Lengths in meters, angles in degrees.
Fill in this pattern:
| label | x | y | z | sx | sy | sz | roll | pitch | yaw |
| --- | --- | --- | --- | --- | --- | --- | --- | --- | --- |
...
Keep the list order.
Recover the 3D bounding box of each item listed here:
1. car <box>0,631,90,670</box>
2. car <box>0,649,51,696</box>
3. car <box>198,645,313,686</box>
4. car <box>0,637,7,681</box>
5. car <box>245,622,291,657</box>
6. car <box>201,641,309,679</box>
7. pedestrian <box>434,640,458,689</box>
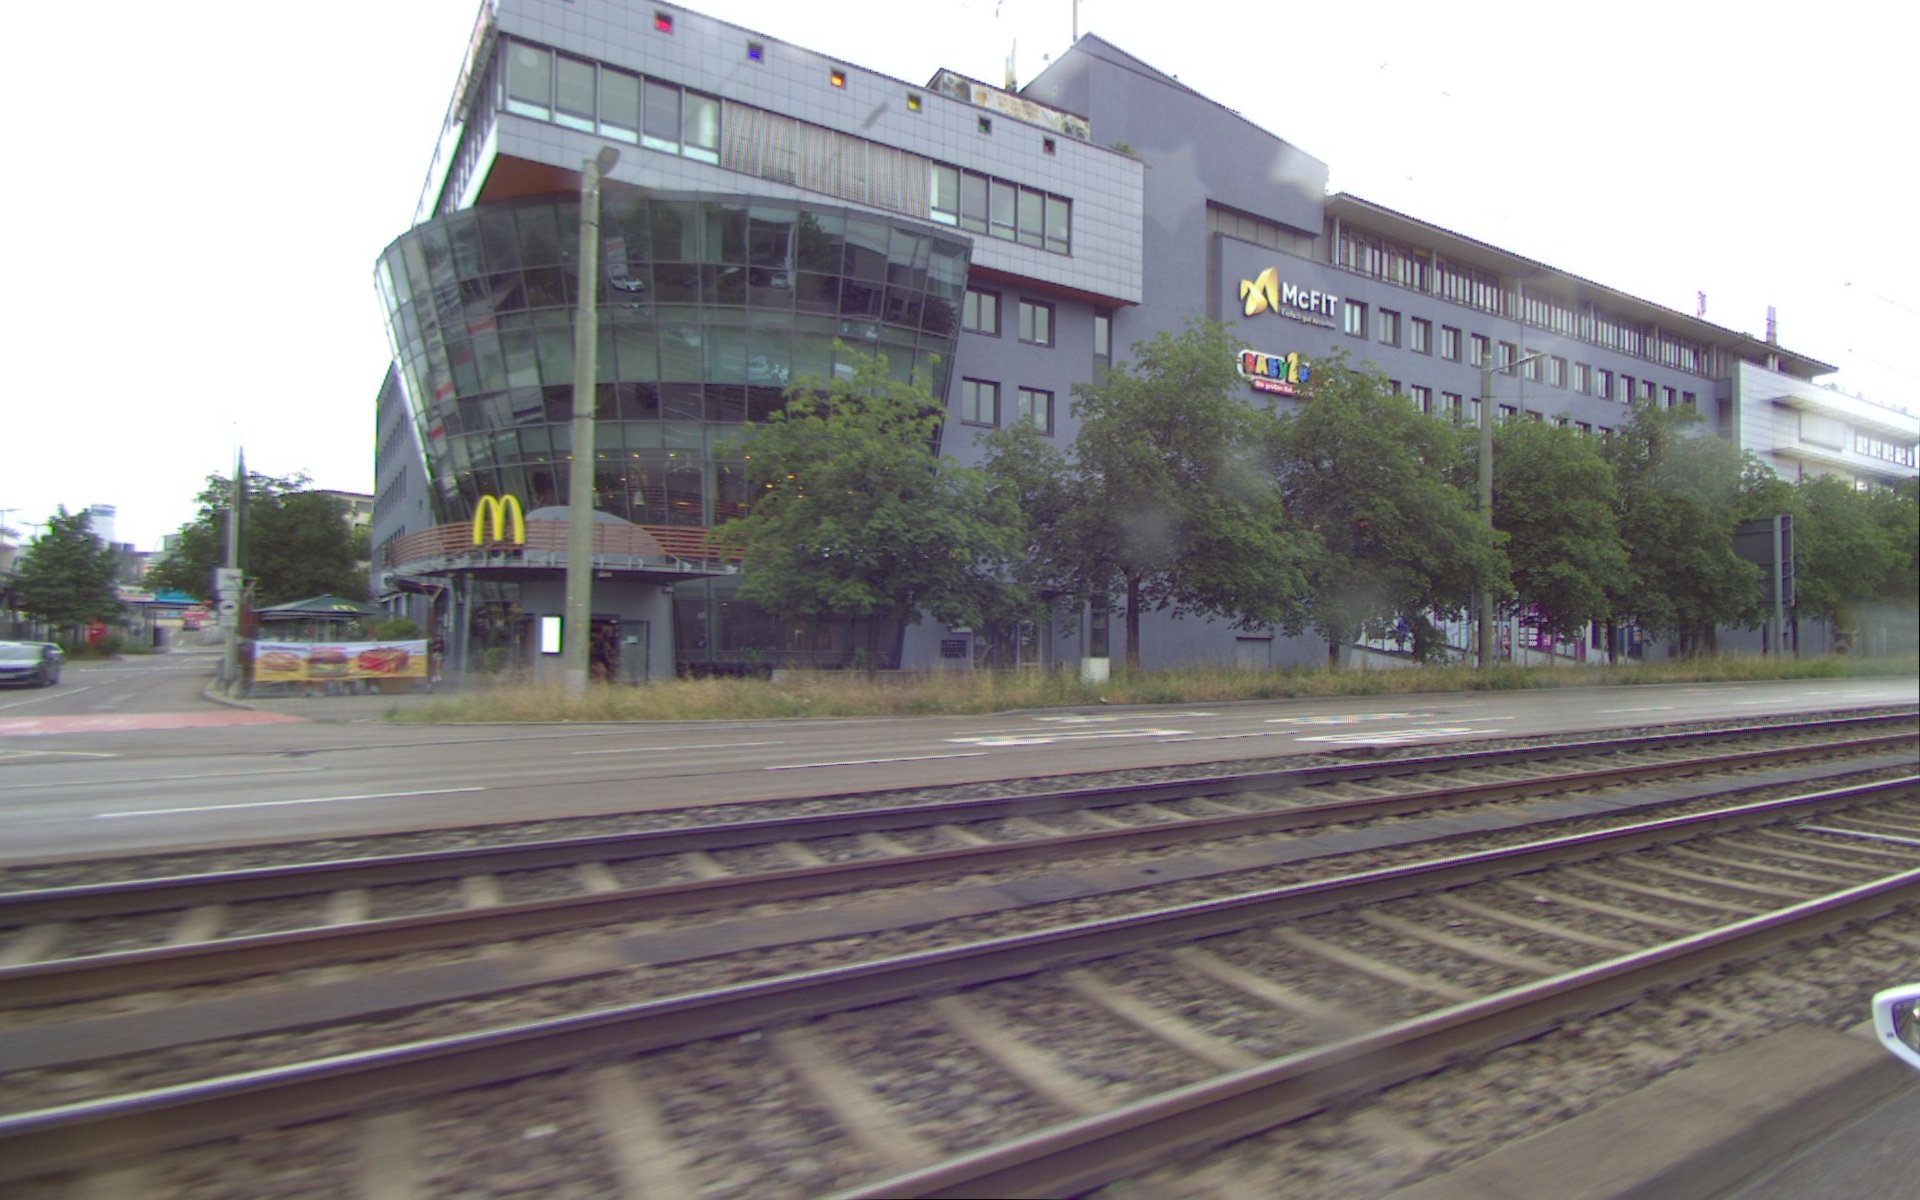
| label | x | y | z | sx | sy | sz | roll | pitch | yaw |
| --- | --- | --- | --- | --- | --- | --- | --- | --- | --- |
| car | -42.197 | 2.260 | 45.461 | 1.755 | 1.647 | 3.986 | 0 | -1 | 36 |
| car | -31.239 | 2.387 | 32.630 | 1.710 | 1.483 | 3.969 | 1 | -5 | -31 |
| car | -31.037 | 2.838 | 44.295 | 3.970 | 1.591 | 1.744 | 1 | 0 | -42 |
| car | -38.651 | 2.256 | 37.657 | 1.755 | 1.647 | 3.986 | 0 | -1 | 36 |
| car | -39.633 | 2.250 | 57.497 | 1.982 | 1.764 | 3.958 | 1 | 0 | -37 |
| car | -32.966 | 2.767 | 47.041 | 3.970 | 1.591 | 1.744 | 1 | 0 | -42 |
| pedestrian | -18.135 | 2.263 | 35.417 | 0.576 | 1.701 | 0.800 | 1 | -3 | -40 |
